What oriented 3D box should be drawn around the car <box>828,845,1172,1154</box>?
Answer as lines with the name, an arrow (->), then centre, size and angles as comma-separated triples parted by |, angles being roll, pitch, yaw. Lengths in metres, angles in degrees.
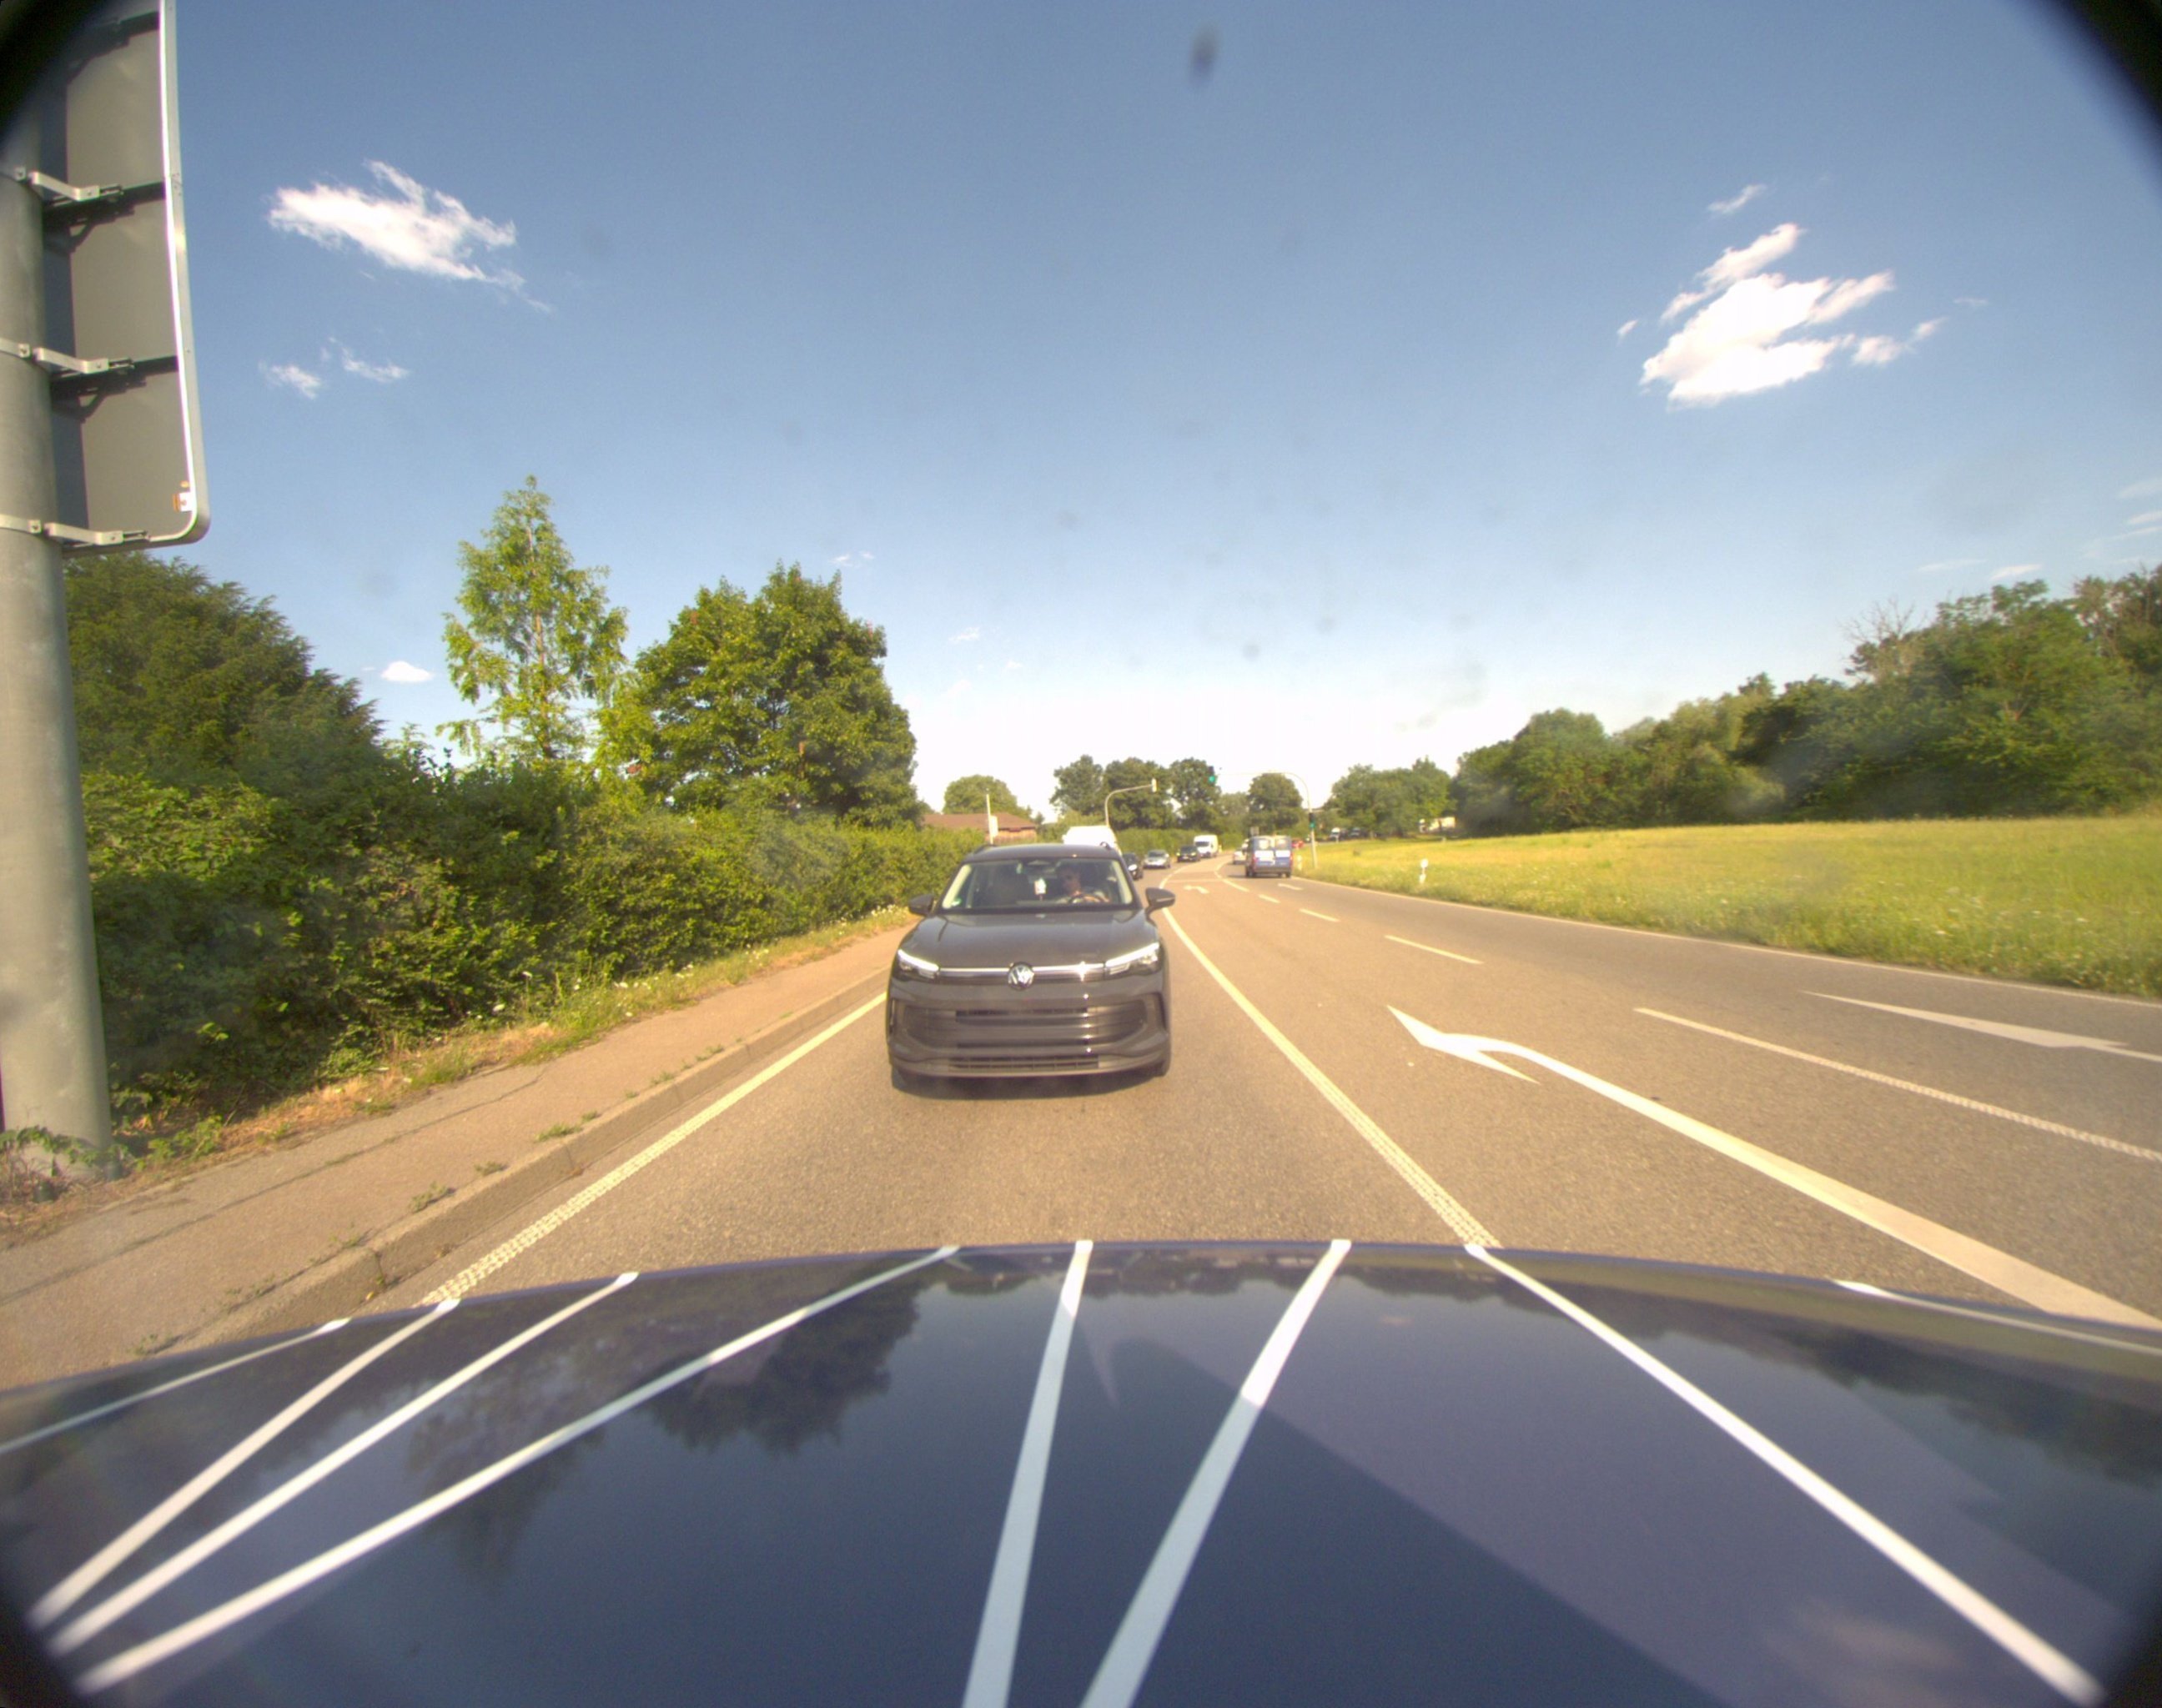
car -> -0.375, 0.791, 6.192 | 1.865, 1.633, 4.000 | -1, 2, 2

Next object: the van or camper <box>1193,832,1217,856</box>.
van or camper -> 14.163, -1.164, 86.692 | 2.032, 2.461, 5.082 | -4, 0, 15

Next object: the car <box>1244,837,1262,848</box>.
car -> 25.918, -1.734, 114.533 | 1.671, 1.471, 3.499 | -4, 0, 28

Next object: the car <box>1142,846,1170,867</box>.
car -> 5.749, 0.161, 58.002 | 1.633, 1.549, 3.420 | -1, 1, 13

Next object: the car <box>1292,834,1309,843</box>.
car -> 36.070, -2.504, 124.888 | 1.586, 1.458, 3.614 | -1, 0, 34

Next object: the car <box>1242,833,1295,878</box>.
car -> 9.679, 0.052, 39.601 | 2.002, 2.124, 4.781 | -3, 0, 7

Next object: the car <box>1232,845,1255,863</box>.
car -> 13.786, -0.017, 64.649 | 1.710, 1.420, 4.181 | -2, 0, 11

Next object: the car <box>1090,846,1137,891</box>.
car -> 1.411, 0.545, 31.353 | 1.693, 1.718, 3.669 | -1, 1, 6

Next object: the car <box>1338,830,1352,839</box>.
car -> 55.021, -4.080, 158.462 | 1.725, 1.871, 4.344 | -1, 0, 33

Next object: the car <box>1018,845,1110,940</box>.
car -> -0.244, 0.696, 15.849 | 1.659, 1.720, 3.804 | -1, 1, 2

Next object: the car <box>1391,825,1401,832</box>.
car -> 77.535, -6.351, 187.132 | 1.635, 1.685, 3.625 | 0, 2, 35

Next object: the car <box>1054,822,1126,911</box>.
car -> 0.390, 0.321, 22.672 | 1.844, 2.338, 4.790 | -1, 1, 4

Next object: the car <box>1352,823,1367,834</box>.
car -> 66.144, -5.987, 180.502 | 1.995, 2.373, 4.944 | -4, 1, 34

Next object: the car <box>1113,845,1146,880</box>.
car -> 2.642, 0.440, 40.825 | 1.673, 1.718, 3.668 | 0, 2, 6

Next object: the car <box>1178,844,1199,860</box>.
car -> 10.518, -0.223, 74.139 | 1.605, 1.471, 3.620 | 0, 1, 16
